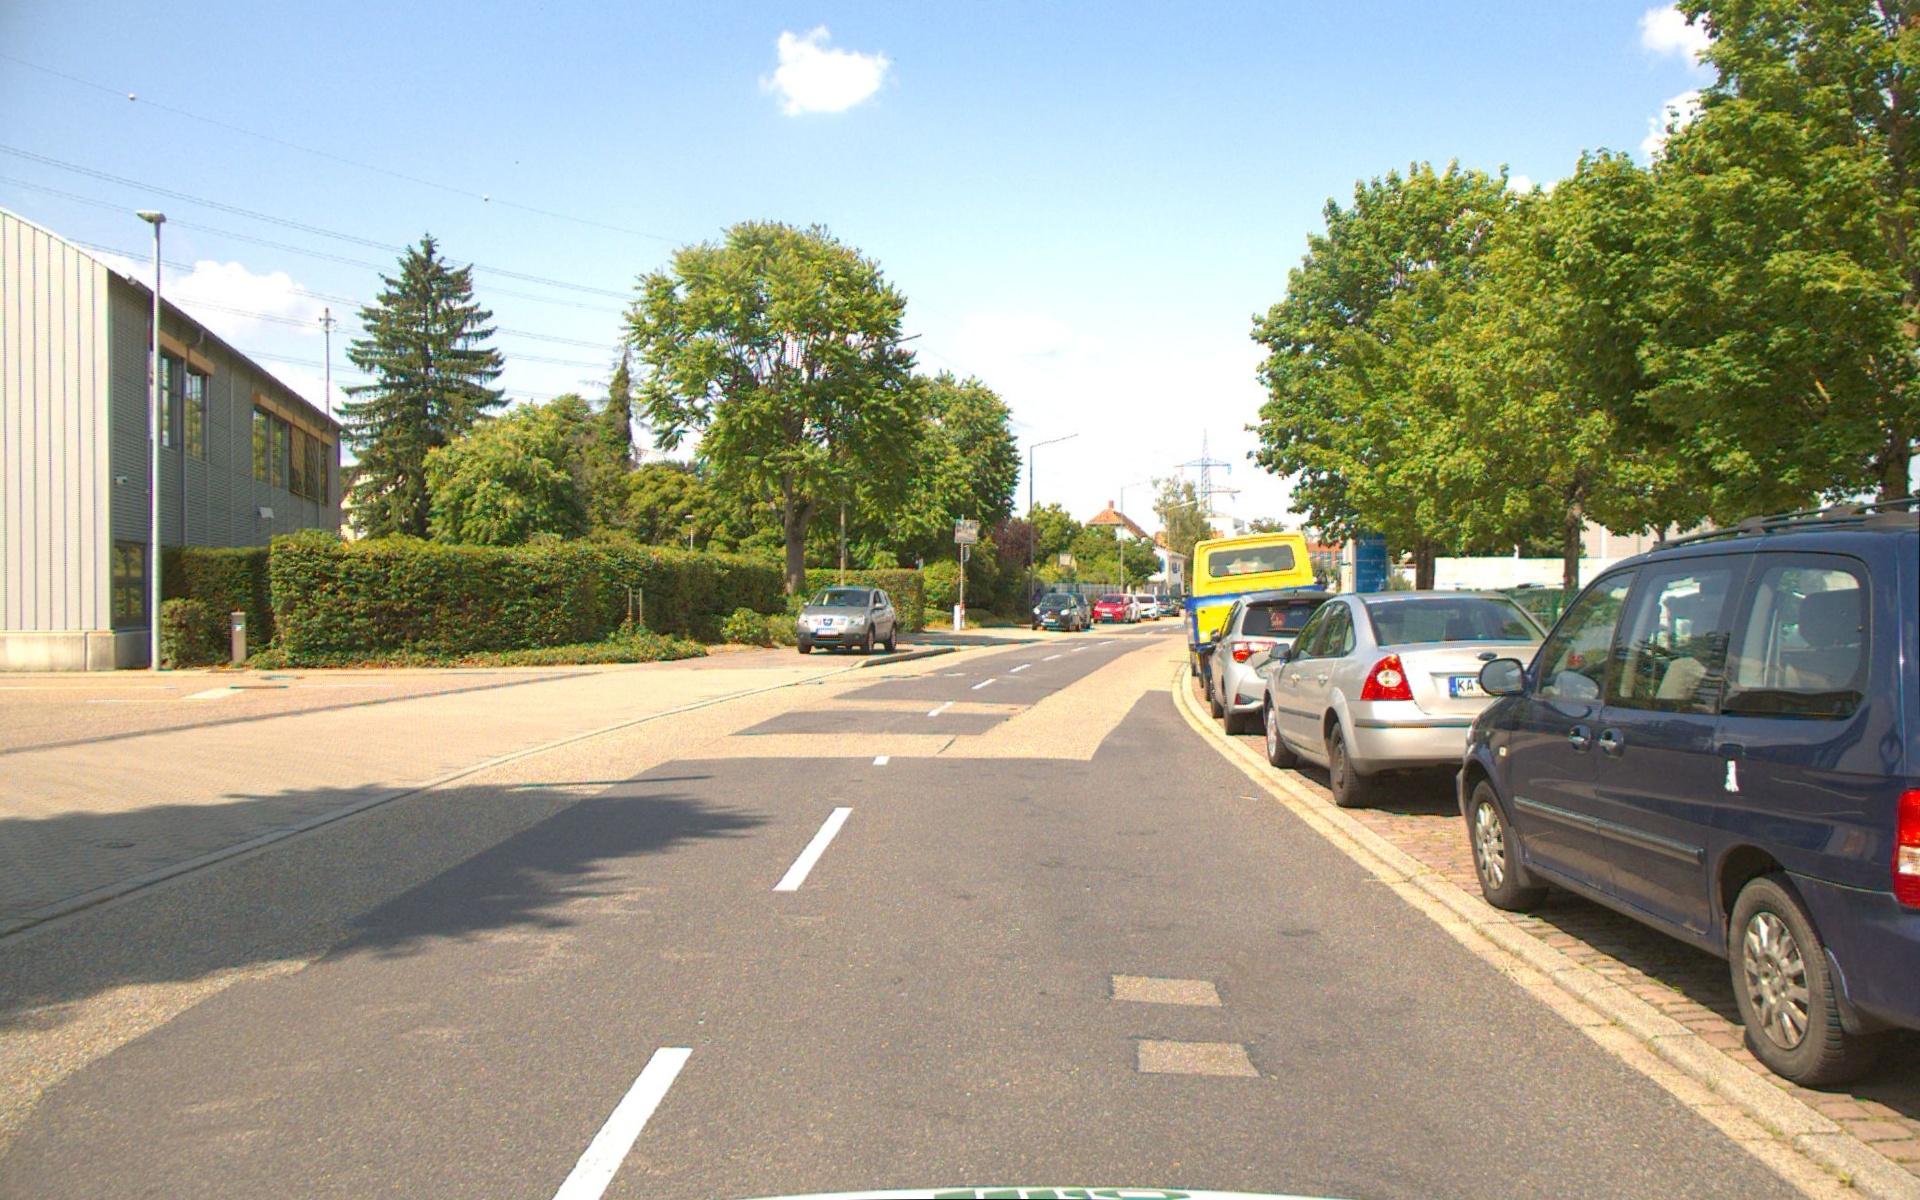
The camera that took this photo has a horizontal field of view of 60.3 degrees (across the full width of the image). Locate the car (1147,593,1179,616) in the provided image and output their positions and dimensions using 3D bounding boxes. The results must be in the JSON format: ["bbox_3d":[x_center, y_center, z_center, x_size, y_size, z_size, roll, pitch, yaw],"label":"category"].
[{"bbox_3d":[13.629,0.297,110.898,1.766,1.443,4.500,2,1,12],"label":"car"}]

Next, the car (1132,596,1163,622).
[{"bbox_3d":[11.261,0.515,99.316,1.585,1.549,4.179,0,0,10],"label":"car"}]

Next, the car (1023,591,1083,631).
[{"bbox_3d":[3.936,0.437,69.235,1.806,1.534,4.003,3,1,13],"label":"car"}]

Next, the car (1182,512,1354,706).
[{"bbox_3d":[4.501,0.132,25.134,2.111,2.508,6.644,-2,0,7],"label":"car"}]

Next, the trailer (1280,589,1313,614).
[{"bbox_3d":[21.485,0.116,105.769,1.712,1.442,4.553,-3,-1,8],"label":"trailer"}]

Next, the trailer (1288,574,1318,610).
[{"bbox_3d":[27.867,-0.615,134.428,2.157,2.785,6.227,-3,-1,12],"label":"trailer"}]

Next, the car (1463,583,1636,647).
[{"bbox_3d":[15.604,0.405,44.004,4.119,1.621,1.911,-1,-1,13],"label":"car"}]

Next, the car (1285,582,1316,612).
[{"bbox_3d":[23.829,-0.198,115.737,1.951,2.049,5.654,-1,0,13],"label":"car"}]

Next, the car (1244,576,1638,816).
[{"bbox_3d":[3.565,0.629,13.215,1.795,1.518,4.656,-2,0,0],"label":"car"}]

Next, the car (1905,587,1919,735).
[{"bbox_3d":[12.011,0.558,16.466,4.236,1.522,1.629,-2,0,1],"label":"car"}]

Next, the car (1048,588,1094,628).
[{"bbox_3d":[4.996,0.344,74.061,1.615,1.674,3.276,3,1,11],"label":"car"}]

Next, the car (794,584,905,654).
[{"bbox_3d":[-2.623,0.439,40.360,1.720,1.601,4.481,1,0,9],"label":"car"}]

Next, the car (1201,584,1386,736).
[{"bbox_3d":[3.726,0.624,19.054,1.650,1.521,3.951,-2,0,5],"label":"car"}]

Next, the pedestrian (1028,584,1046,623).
[{"bbox_3d":[3.627,0.165,78.212,0.693,1.832,0.916,0,-1,13],"label":"pedestrian"}]

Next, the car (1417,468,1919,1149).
[{"bbox_3d":[3.458,0.518,6.733,1.812,1.796,5.078,-2,0,1],"label":"car"}]

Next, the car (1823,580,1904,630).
[{"bbox_3d":[28.671,0.158,52.564,1.954,1.494,4.264,1,0,25],"label":"car"}]

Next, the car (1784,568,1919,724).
[{"bbox_3d":[12.124,0.547,19.137,4.236,1.700,1.857,1,0,1],"label":"car"}]

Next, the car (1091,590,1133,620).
[{"bbox_3d":[7.914,0.243,85.854,1.631,1.492,3.746,1,0,14],"label":"car"}]

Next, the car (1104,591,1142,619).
[{"bbox_3d":[8.929,0.291,90.454,1.610,1.503,4.032,0,0,12],"label":"car"}]

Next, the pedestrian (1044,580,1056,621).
[{"bbox_3d":[4.268,0.034,78.314,0.441,1.927,0.678,0,-1,13],"label":"pedestrian"}]
